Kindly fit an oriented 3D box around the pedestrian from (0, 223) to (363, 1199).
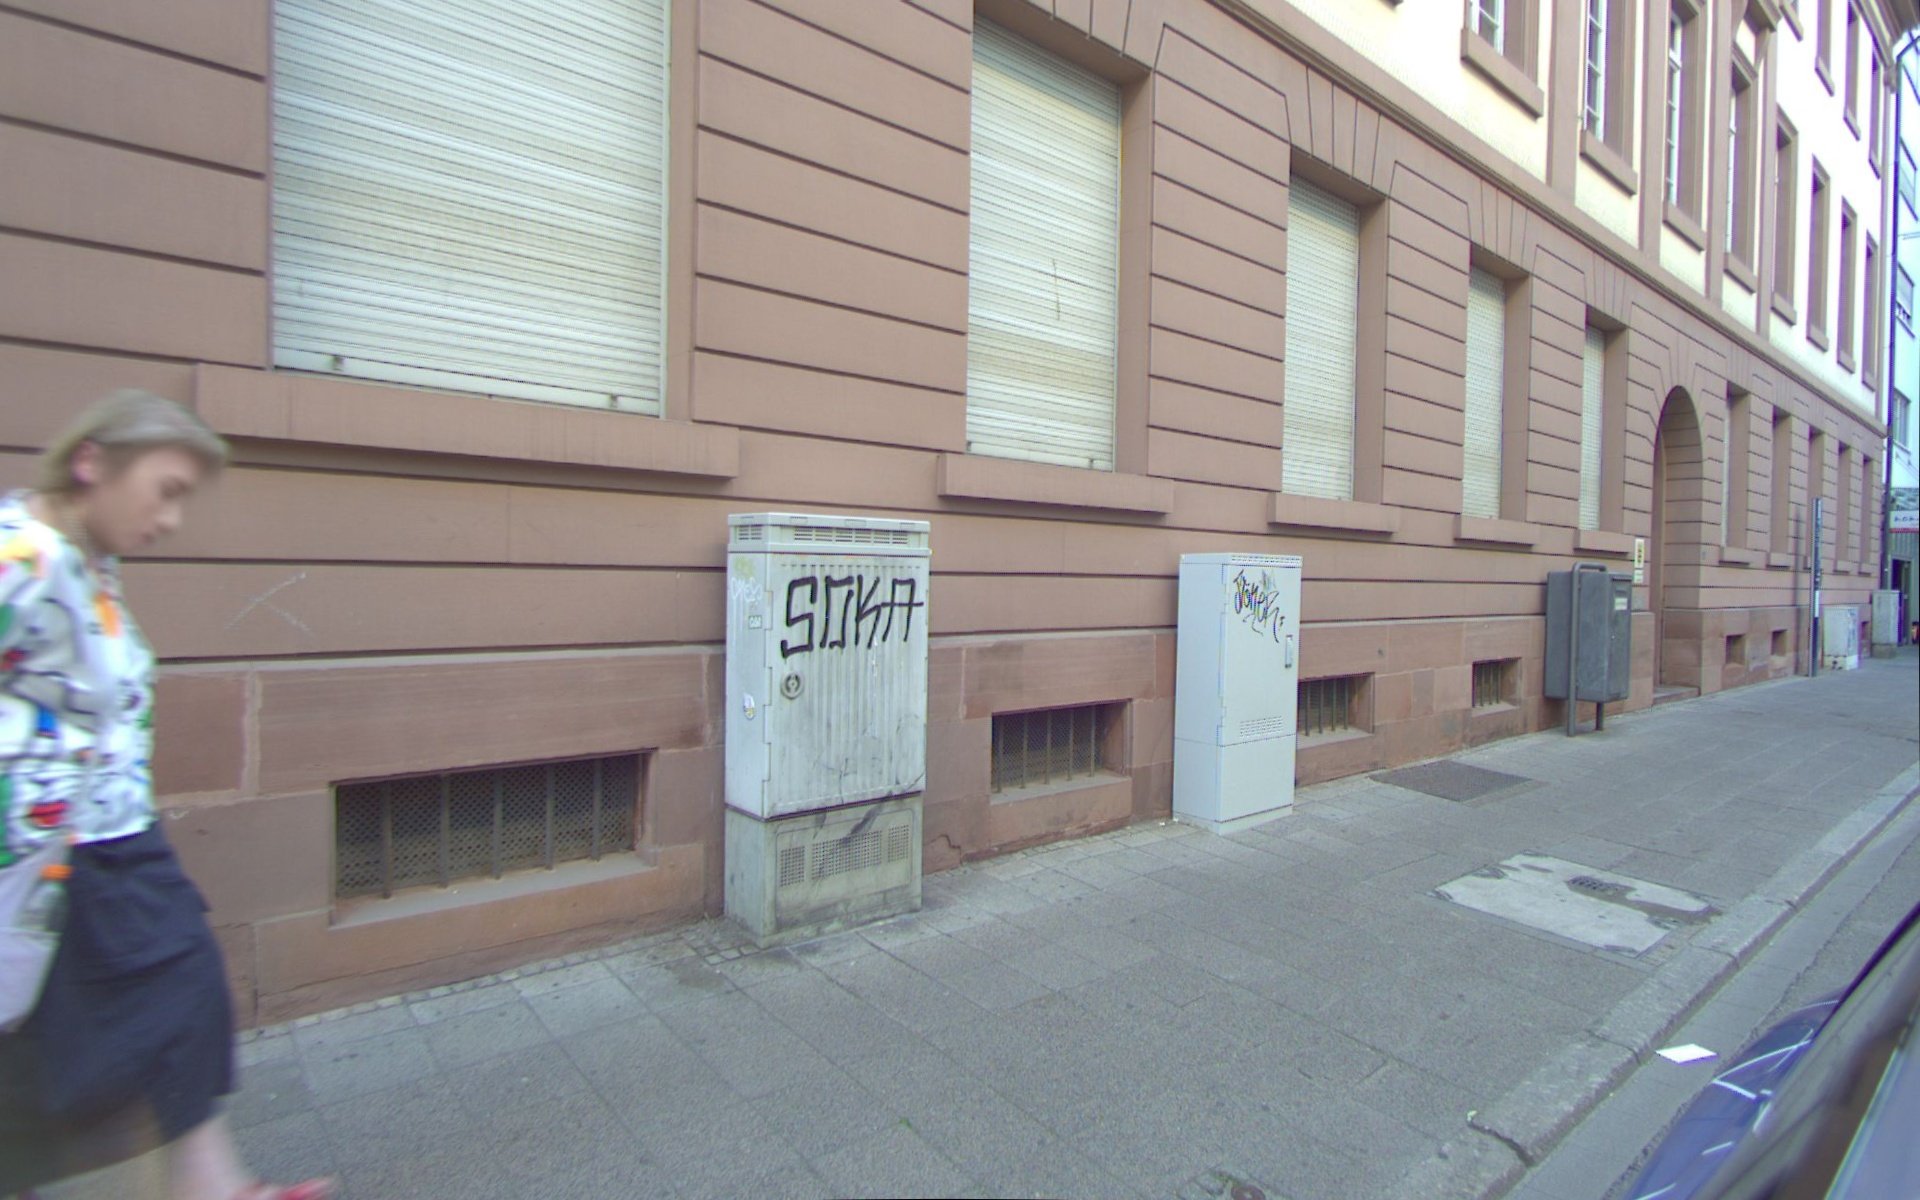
[{"bbox_3d":[-1.645,0.336,1.855,0.880,1.825,0.848,0,4,-35],"label":"pedestrian"}]
